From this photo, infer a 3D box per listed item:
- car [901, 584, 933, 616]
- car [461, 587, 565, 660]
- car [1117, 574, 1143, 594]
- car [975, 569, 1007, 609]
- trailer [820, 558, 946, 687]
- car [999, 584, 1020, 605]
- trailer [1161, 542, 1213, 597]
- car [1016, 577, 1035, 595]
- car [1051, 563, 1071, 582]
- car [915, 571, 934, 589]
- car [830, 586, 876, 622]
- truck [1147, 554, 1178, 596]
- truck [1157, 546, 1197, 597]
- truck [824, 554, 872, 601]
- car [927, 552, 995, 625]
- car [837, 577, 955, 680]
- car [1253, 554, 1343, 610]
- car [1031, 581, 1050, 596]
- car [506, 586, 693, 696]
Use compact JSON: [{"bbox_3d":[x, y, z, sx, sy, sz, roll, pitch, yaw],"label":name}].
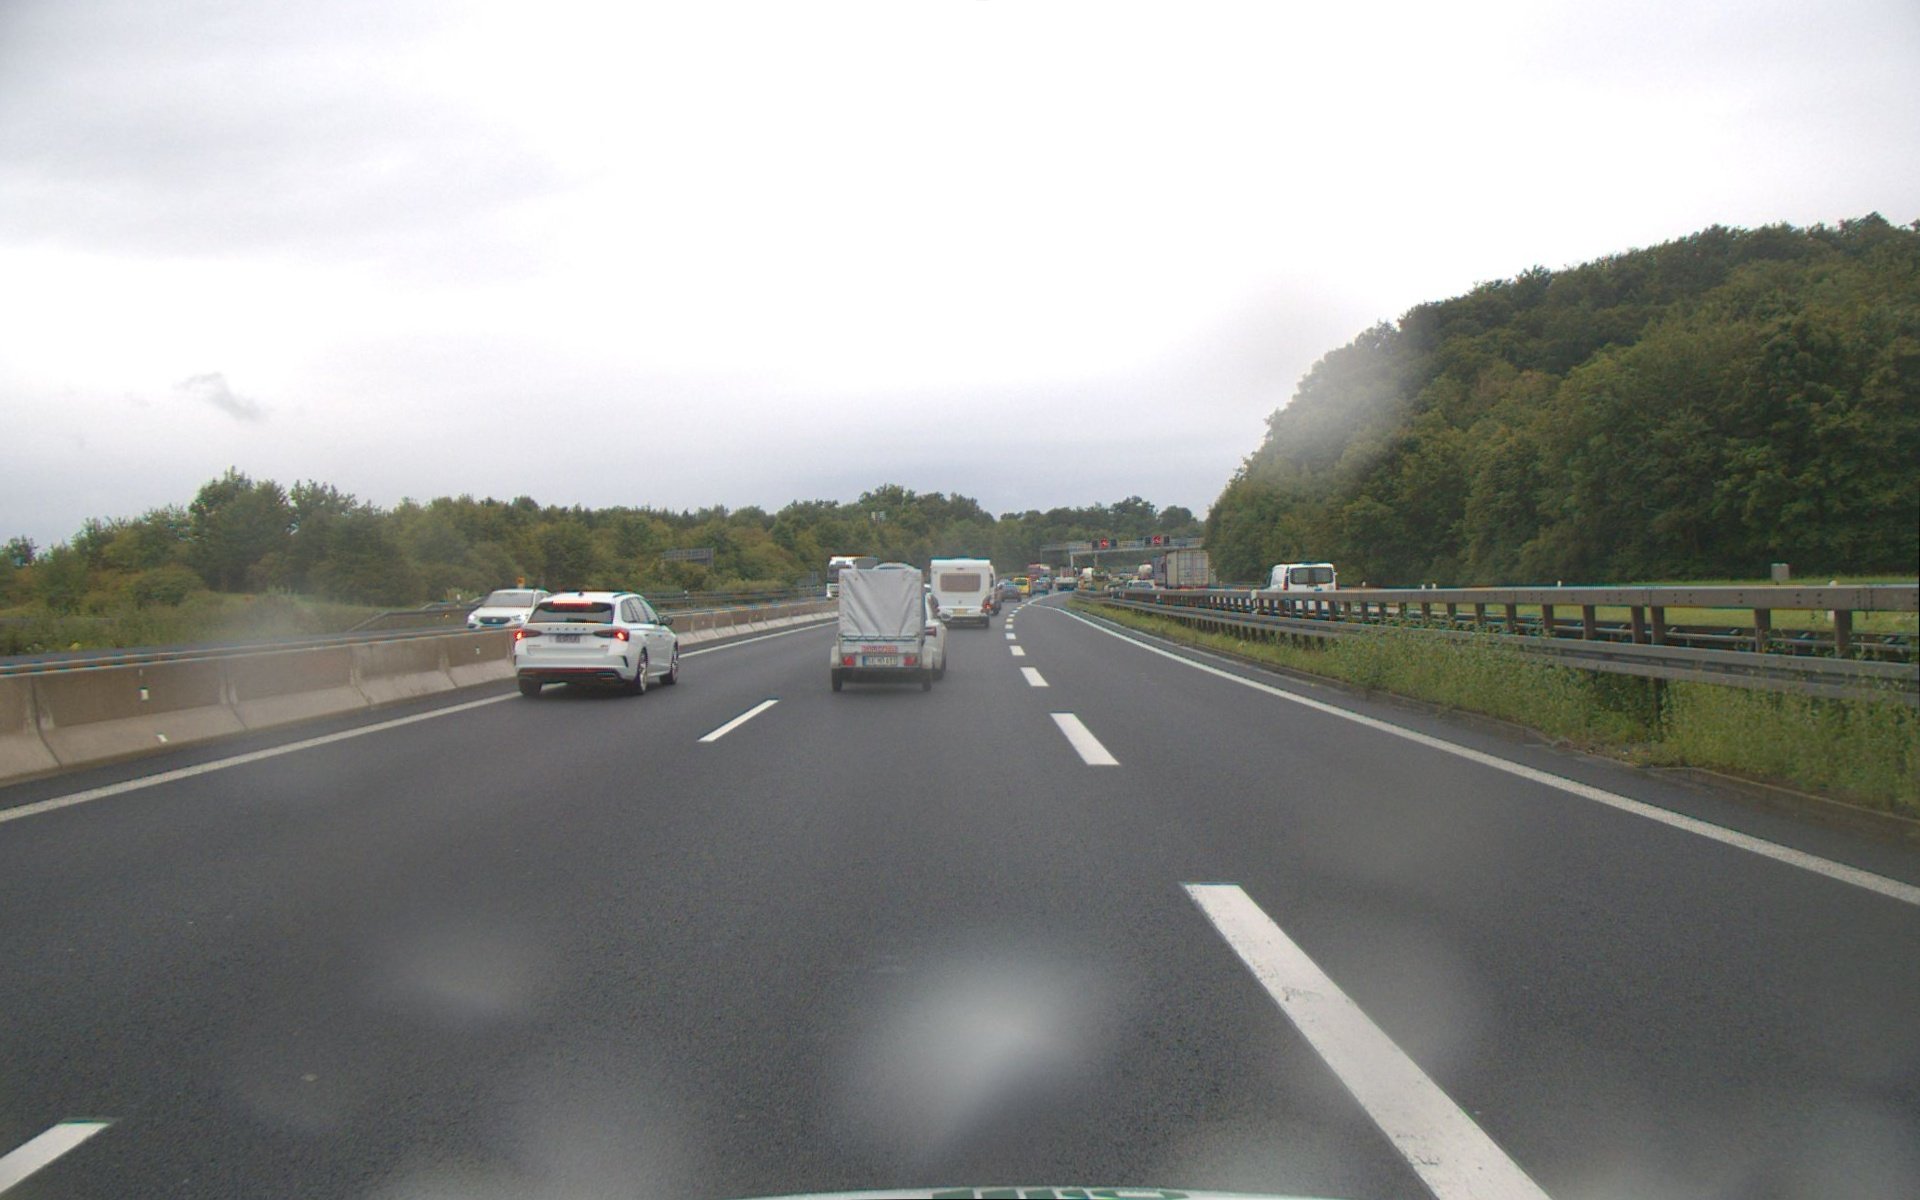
[{"bbox_3d":[-2.730,-0.013,104.668,1.953,1.952,3.999,-1,0,-1],"label":"car"},{"bbox_3d":[-12.722,0.648,47.297,1.702,1.953,4.317,-1,0,1],"label":"car"},{"bbox_3d":[12.836,-1.205,124.982,1.632,1.407,4.127,-3,0,3],"label":"car"},{"bbox_3d":[1.714,-0.602,90.200,1.641,2.103,4.001,-1,0,1],"label":"car"},{"bbox_3d":[-1.126,0.329,25.887,1.641,1.844,4.001,-1,0,2],"label":"trailer"},{"bbox_3d":[4.301,-0.467,144.445,1.640,1.844,4.002,-1,0,4],"label":"car"},{"bbox_3d":[17.420,-2.273,127.722,2.550,3.962,12.492,-1,0,2],"label":"trailer"},{"bbox_3d":[6.889,-1.496,173.729,1.640,1.844,4.003,-1,0,7],"label":"car"},{"bbox_3d":[14.378,-3.905,235.732,2.462,2.620,5.316,-1,0,7],"label":"car"},{"bbox_3d":[-4.036,-2.220,187.533,1.701,1.953,4.318,-1,0,4],"label":"car"},{"bbox_3d":[-4.516,0.183,70.304,1.641,1.481,4.000,-1,0,0],"label":"car"},{"bbox_3d":[24.013,-2.904,196.581,3.148,4.748,13.040,-1,0,5],"label":"truck"},{"bbox_3d":[17.592,-2.252,134.464,2.562,3.952,6.393,-1,0,2],"label":"truck"},{"bbox_3d":[-10.477,-2.059,156.363,2.728,4.164,12.305,-1,0,4],"label":"truck"},{"bbox_3d":[0.053,-0.406,63.673,2.456,2.630,5.699,-1,0,0],"label":"car"},{"bbox_3d":[-1.049,0.468,29.328,1.781,1.644,4.778,-1,0,1],"label":"car"},{"bbox_3d":[10.830,-0.545,53.313,1.870,1.723,4.718,-1,0,0],"label":"car"},{"bbox_3d":[9.605,-1.375,197.526,1.994,1.712,4.003,-1,0,7],"label":"car"},{"bbox_3d":[-5.292,0.566,24.915,1.781,1.481,4.777,-1,0,0],"label":"car"}]
